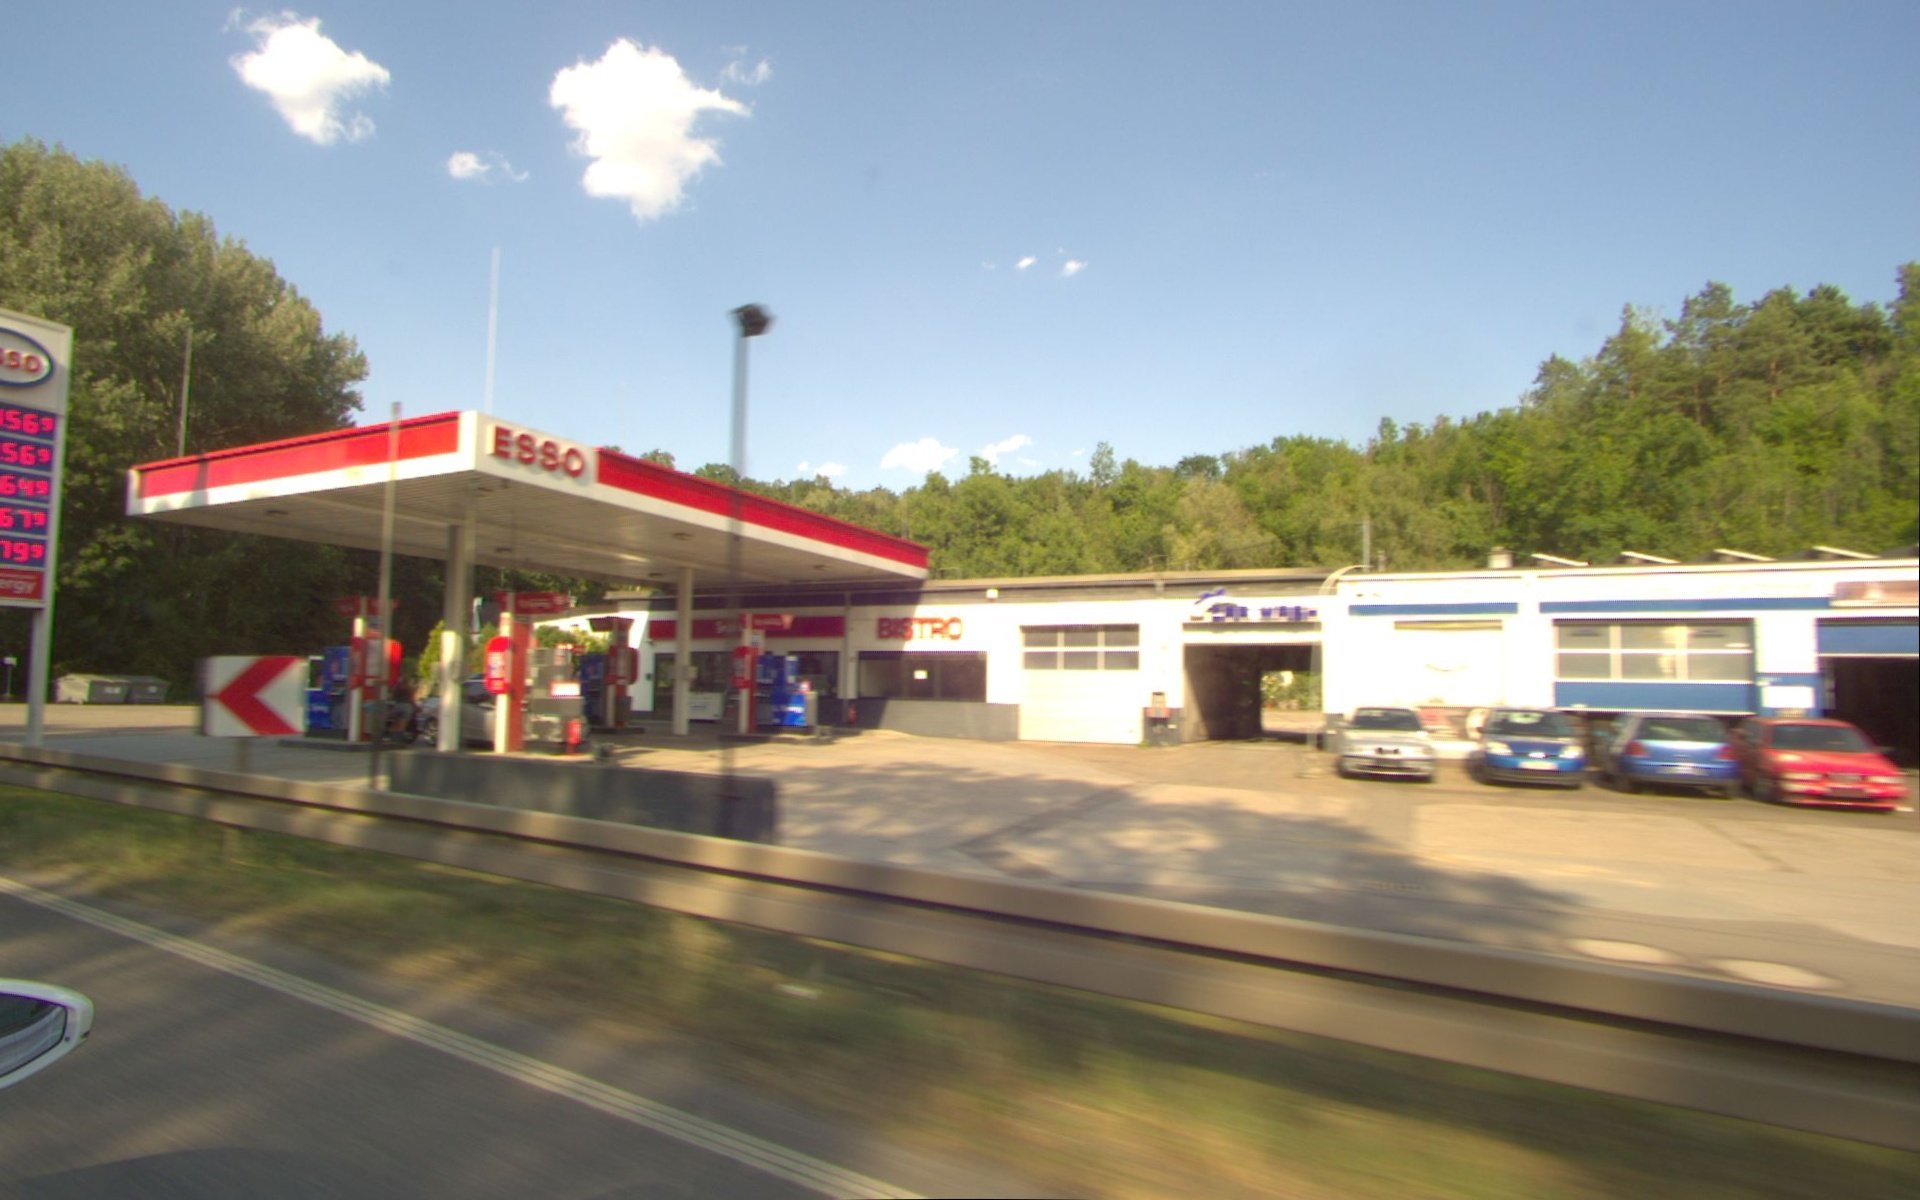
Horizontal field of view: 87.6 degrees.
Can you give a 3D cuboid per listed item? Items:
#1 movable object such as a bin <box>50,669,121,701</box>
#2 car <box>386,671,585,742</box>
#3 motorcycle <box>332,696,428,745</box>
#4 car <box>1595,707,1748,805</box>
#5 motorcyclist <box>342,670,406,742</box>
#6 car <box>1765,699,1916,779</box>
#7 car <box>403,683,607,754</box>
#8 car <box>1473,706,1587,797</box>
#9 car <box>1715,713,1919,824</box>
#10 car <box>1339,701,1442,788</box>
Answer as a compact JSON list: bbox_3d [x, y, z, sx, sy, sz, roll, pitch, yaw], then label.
[{"bbox_3d":[-42.670,4.160,48.874,2.509,1.436,1.272,1,-6,13],"label":"movable object such as a bin"},{"bbox_3d":[-12.838,2.818,27.072,5.096,1.647,2.094,-1,-4,26],"label":"car"},{"bbox_3d":[-13.511,2.779,23.322,2.303,1.024,0.762,-1,-4,26],"label":"motorcycle"},{"bbox_3d":[12.841,2.748,18.295,1.706,1.463,3.547,-1,-4,26],"label":"car"},{"bbox_3d":[-13.712,2.472,23.452,0.913,1.624,0.859,0,-4,26],"label":"motorcyclist"},{"bbox_3d":[22.180,3.446,25.409,1.715,1.580,4.023,0,-2,24],"label":"car"},{"bbox_3d":[-10.162,2.574,22.333,4.320,1.335,1.843,-1,-4,27],"label":"car"},{"bbox_3d":[10.834,2.817,19.231,1.664,1.423,3.553,-1,-4,26],"label":"car"},{"bbox_3d":[14.603,2.778,17.183,1.865,1.365,4.068,0,-3,26],"label":"car"},{"bbox_3d":[8.672,2.833,20.315,1.747,1.371,3.962,0,-3,22],"label":"car"}]
